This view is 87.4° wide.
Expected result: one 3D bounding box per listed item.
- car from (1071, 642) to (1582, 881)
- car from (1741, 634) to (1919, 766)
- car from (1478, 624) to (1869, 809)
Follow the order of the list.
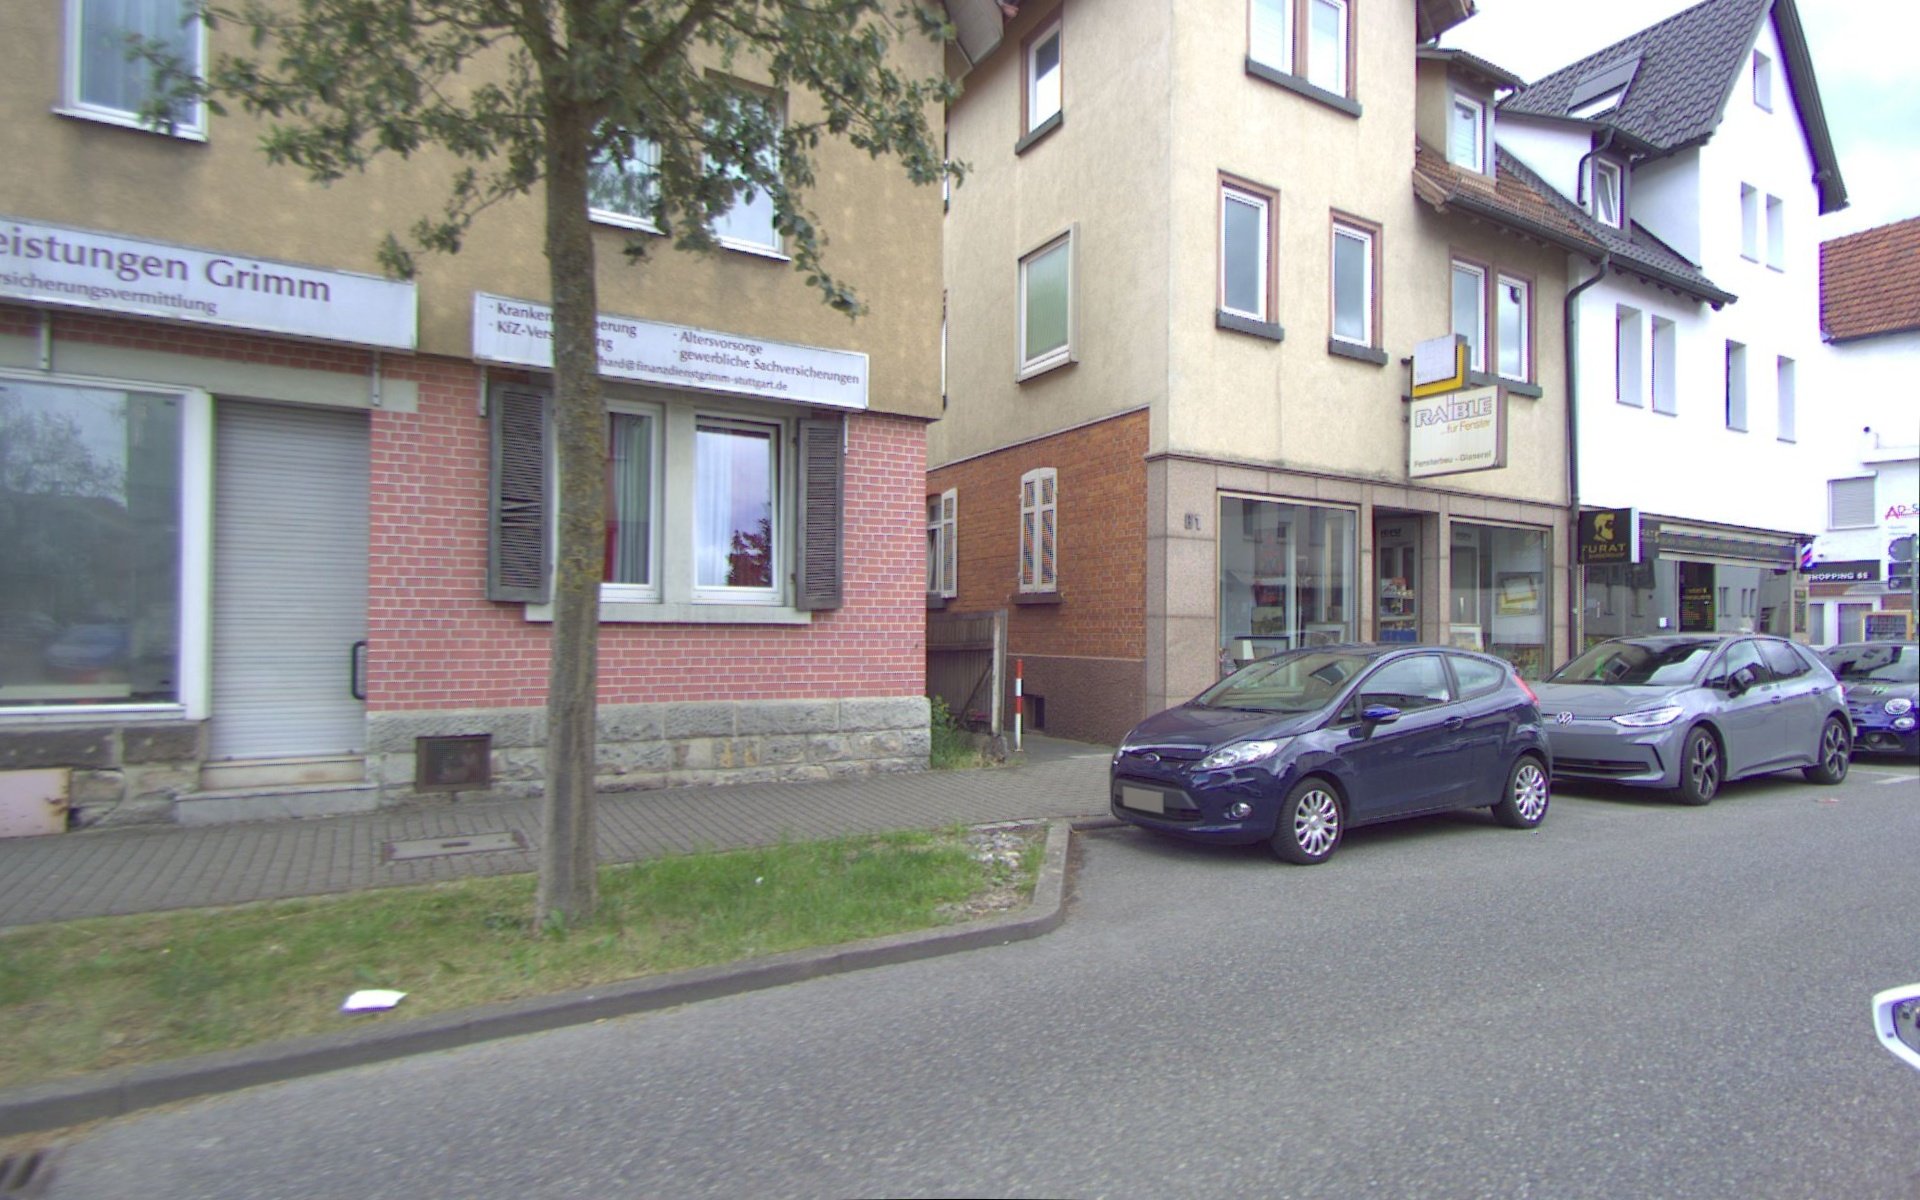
[{"bbox_3d":[2.928,1.063,7.853,3.885,1.443,1.674,1,-3,-31],"label":"car"},{"bbox_3d":[12.064,1.219,13.126,3.548,1.512,1.675,1,-3,-29],"label":"car"},{"bbox_3d":[7.410,1.076,10.376,4.064,1.586,1.703,1,-3,-29],"label":"car"}]
